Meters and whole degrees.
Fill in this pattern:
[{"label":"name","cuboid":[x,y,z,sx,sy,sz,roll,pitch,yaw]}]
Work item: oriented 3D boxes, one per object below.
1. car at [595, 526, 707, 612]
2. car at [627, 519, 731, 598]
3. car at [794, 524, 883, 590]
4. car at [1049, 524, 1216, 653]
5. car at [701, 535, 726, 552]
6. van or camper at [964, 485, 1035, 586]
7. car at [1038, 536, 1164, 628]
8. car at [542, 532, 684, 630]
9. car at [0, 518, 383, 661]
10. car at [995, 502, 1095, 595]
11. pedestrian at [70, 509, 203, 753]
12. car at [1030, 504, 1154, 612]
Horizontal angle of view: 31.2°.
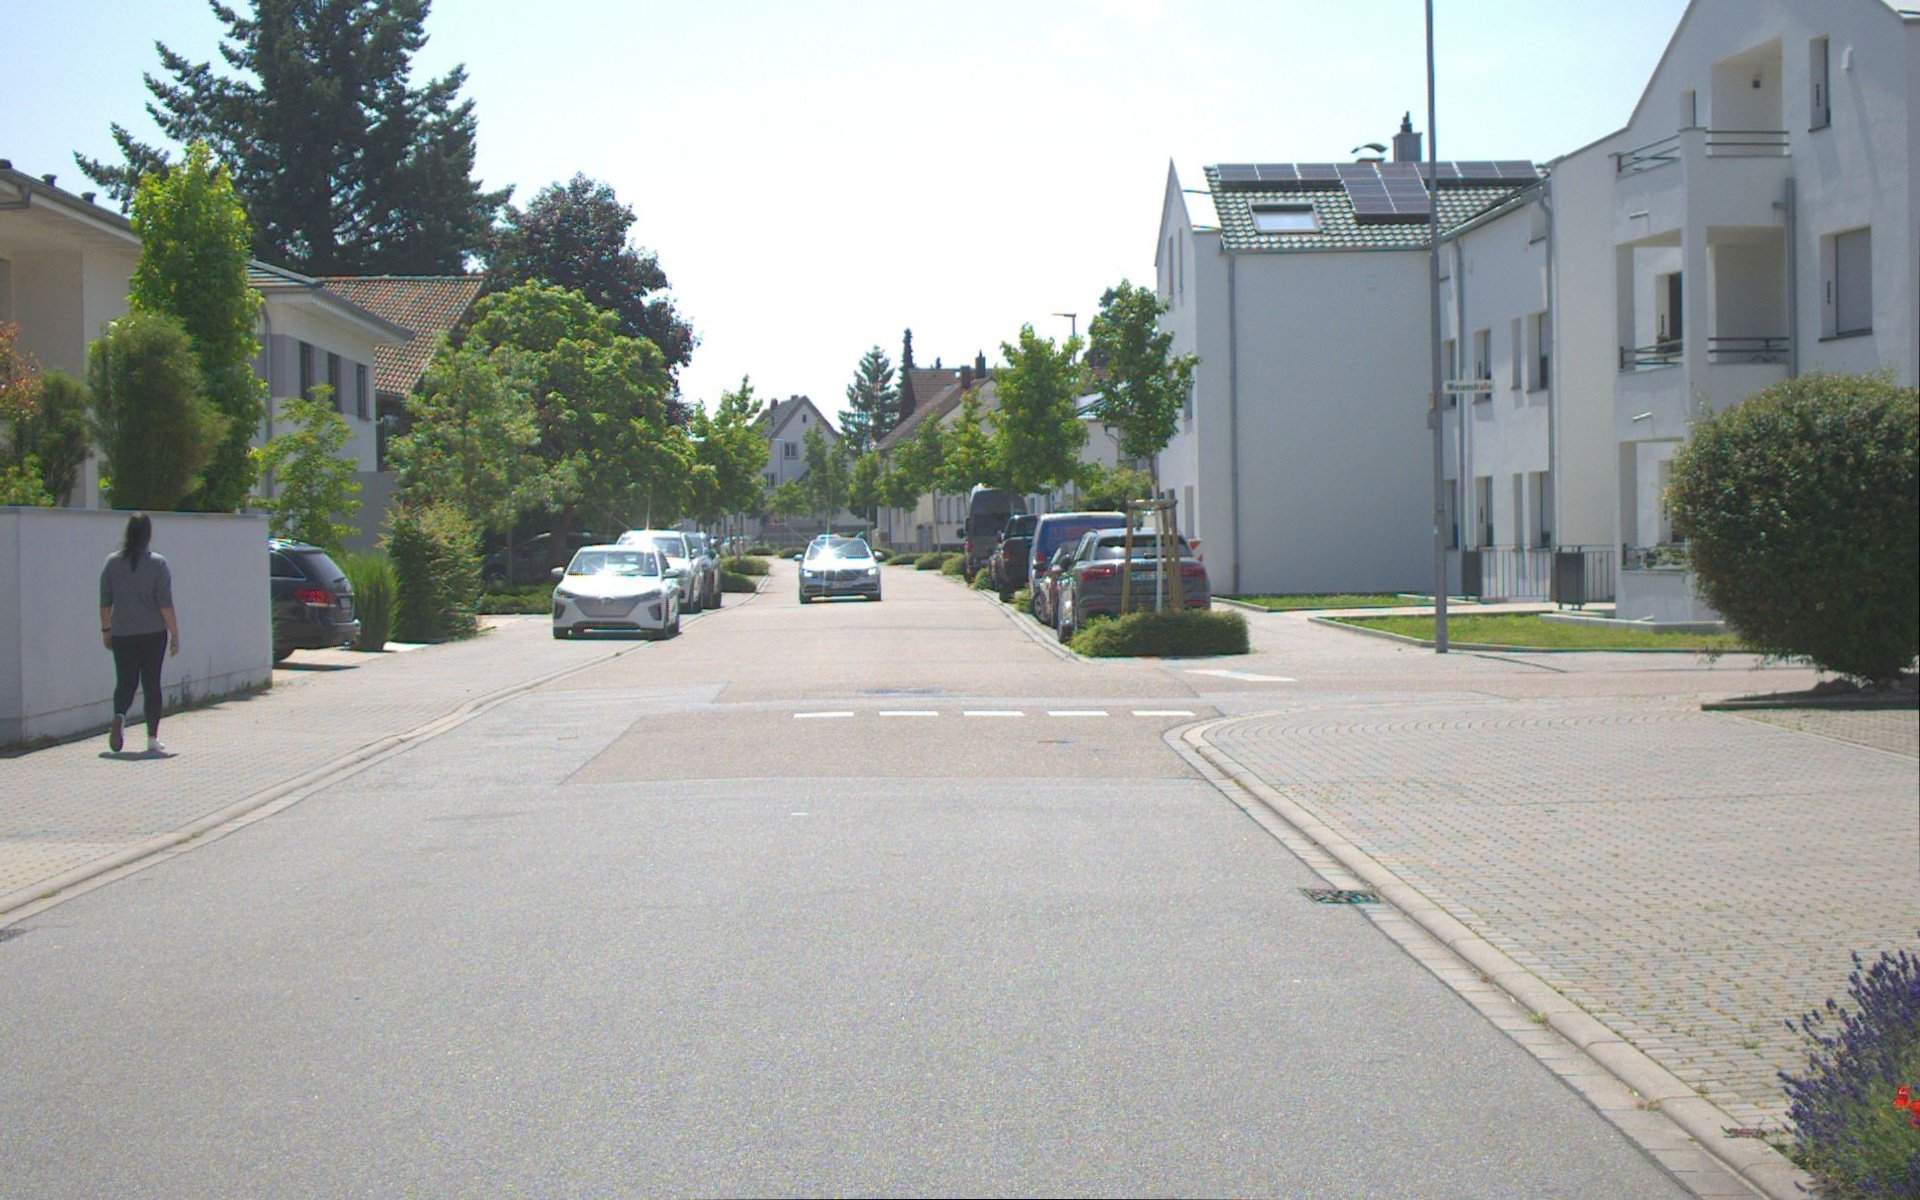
[{"label":"car","cuboid":[-6.297,-0.671,70.469,1.927,1.681,4.498,-1,1,-1]},{"label":"car","cuboid":[-6.230,-0.944,76.678,1.993,1.674,4.215,-1,1,-1]},{"label":"car","cuboid":[-2.843,-1.042,81.197,1.853,1.473,4.700,-1,1,1]},{"label":"car","cuboid":[2.285,-0.193,46.607,1.773,1.590,4.280,-2,1,-3]},{"label":"car","cuboid":[-18.440,-4.235,257.249,1.663,1.246,3.932,-1,1,-1]},{"label":"van or camper","cuboid":[1.162,-1.924,102.588,1.993,2.931,4.000,0,1,-1]},{"label":"car","cuboid":[2.289,-0.325,56.713,1.679,1.437,4.027,-1,1,-3]},{"label":"car","cuboid":[-5.525,-0.339,55.155,1.852,1.483,4.385,-1,1,-1]},{"label":"car","cuboid":[-9.302,-0.144,40.973,4.429,1.468,1.850,3,1,3]},{"label":"car","cuboid":[1.866,-1.169,77.039,1.993,1.940,5.215,-2,1,-1]},{"label":"pedestrian","cuboid":[-5.994,0.211,25.059,0.714,1.741,0.961,-1,1,0]},{"label":"car","cuboid":[2.389,-0.796,63.395,2.099,1.875,4.843,-1,1,0]}]
